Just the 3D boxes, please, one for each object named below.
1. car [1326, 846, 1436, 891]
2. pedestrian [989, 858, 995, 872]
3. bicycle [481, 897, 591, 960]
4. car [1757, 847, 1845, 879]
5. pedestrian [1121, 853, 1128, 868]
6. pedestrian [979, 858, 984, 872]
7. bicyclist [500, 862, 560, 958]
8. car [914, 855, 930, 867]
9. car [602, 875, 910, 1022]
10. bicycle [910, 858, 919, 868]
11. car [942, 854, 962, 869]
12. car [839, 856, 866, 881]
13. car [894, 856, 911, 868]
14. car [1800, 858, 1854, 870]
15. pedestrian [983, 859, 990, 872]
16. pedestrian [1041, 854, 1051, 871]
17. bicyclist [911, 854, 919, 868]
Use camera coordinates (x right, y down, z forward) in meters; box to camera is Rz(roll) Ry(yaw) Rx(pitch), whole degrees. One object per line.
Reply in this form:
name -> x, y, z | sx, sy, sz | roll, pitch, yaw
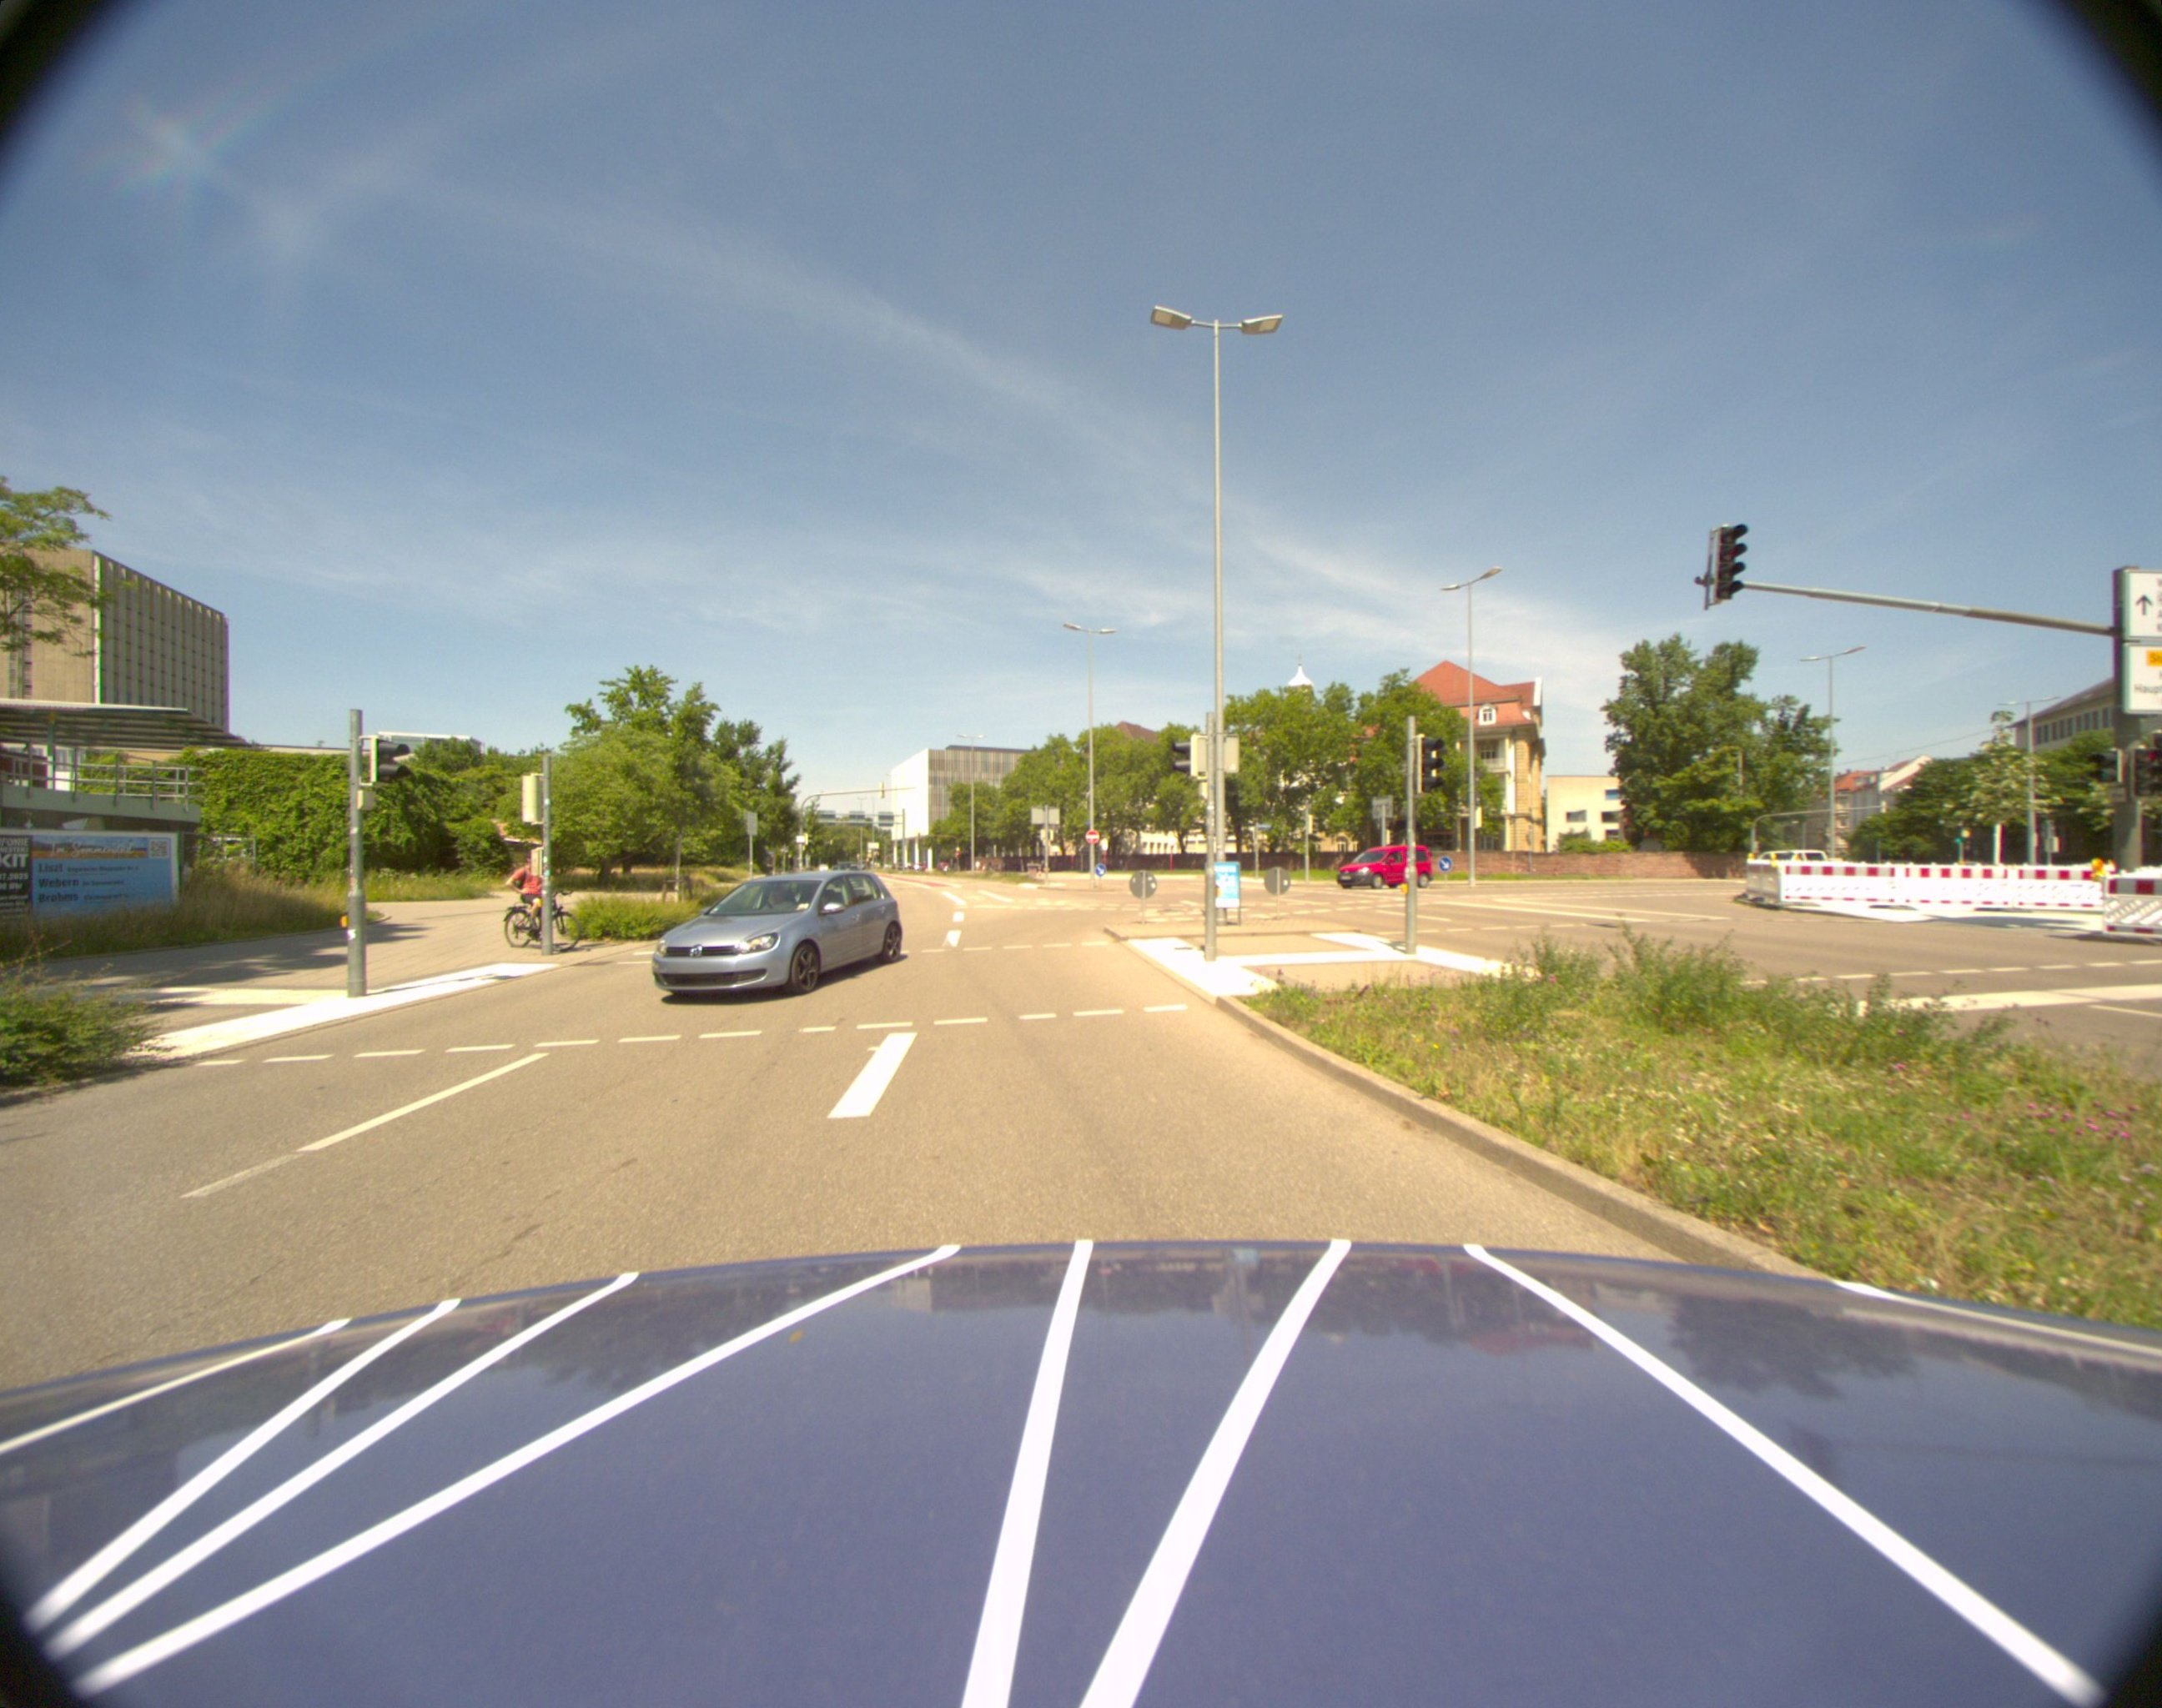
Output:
car -> 12.477, 0.607, 31.551 | 4.285, 1.755, 1.830 | 0, -2, -27
pedestrian -> -13.641, 1.679, 116.267 | 0.790, 2.001, 0.839 | 0, -2, -22
bicycle -> -9.946, 1.336, 13.864 | 1.992, 1.039, 0.559 | 0, -1, 19
car -> 42.521, 0.490, 44.850 | 5.037, 1.784, 1.929 | -1, 0, -23
pedestrian -> 5.225, 0.793, 91.922 | 0.525, 1.710, 0.590 | -3, -2, 43
pedestrian -> -15.097, 1.680, 115.586 | 0.550, 2.001, 0.535 | 0, -2, -22
bicyclist -> -10.063, 0.998, 13.888 | 0.701, 1.705, 0.552 | 0, -1, 18
car -> -24.382, 1.033, 116.308 | 1.783, 1.673, 3.995 | 0, -2, -20
car -> -3.945, 1.062, 10.093 | 1.831, 1.406, 3.997 | -1, 0, 10
bicycle -> -21.800, 1.159, 99.566 | 0.522, 1.229, 2.187 | 0, -2, -31
car -> -18.666, 1.126, 109.744 | 2.002, 2.001, 4.208 | 0, -2, -22
car -> -15.815, 1.010, 52.551 | 1.710, 1.576, 4.551 | 0, -2, -17
car -> -27.052, 1.250, 115.307 | 1.780, 1.658, 3.993 | 0, -2, -24
car -> 92.585, 1.240, 94.401 | 1.824, 1.420, 4.416 | 0, 1, -28
pedestrian -> -14.401, 1.796, 115.897 | 0.790, 2.001, 0.962 | 0, -2, -22
pedestrian -> -4.799, 1.218, 104.236 | 0.851, 2.276, 1.073 | 0, -2, -36
bicyclist -> -21.767, 0.925, 99.577 | 0.710, 1.875, 1.136 | 0, -2, -32
